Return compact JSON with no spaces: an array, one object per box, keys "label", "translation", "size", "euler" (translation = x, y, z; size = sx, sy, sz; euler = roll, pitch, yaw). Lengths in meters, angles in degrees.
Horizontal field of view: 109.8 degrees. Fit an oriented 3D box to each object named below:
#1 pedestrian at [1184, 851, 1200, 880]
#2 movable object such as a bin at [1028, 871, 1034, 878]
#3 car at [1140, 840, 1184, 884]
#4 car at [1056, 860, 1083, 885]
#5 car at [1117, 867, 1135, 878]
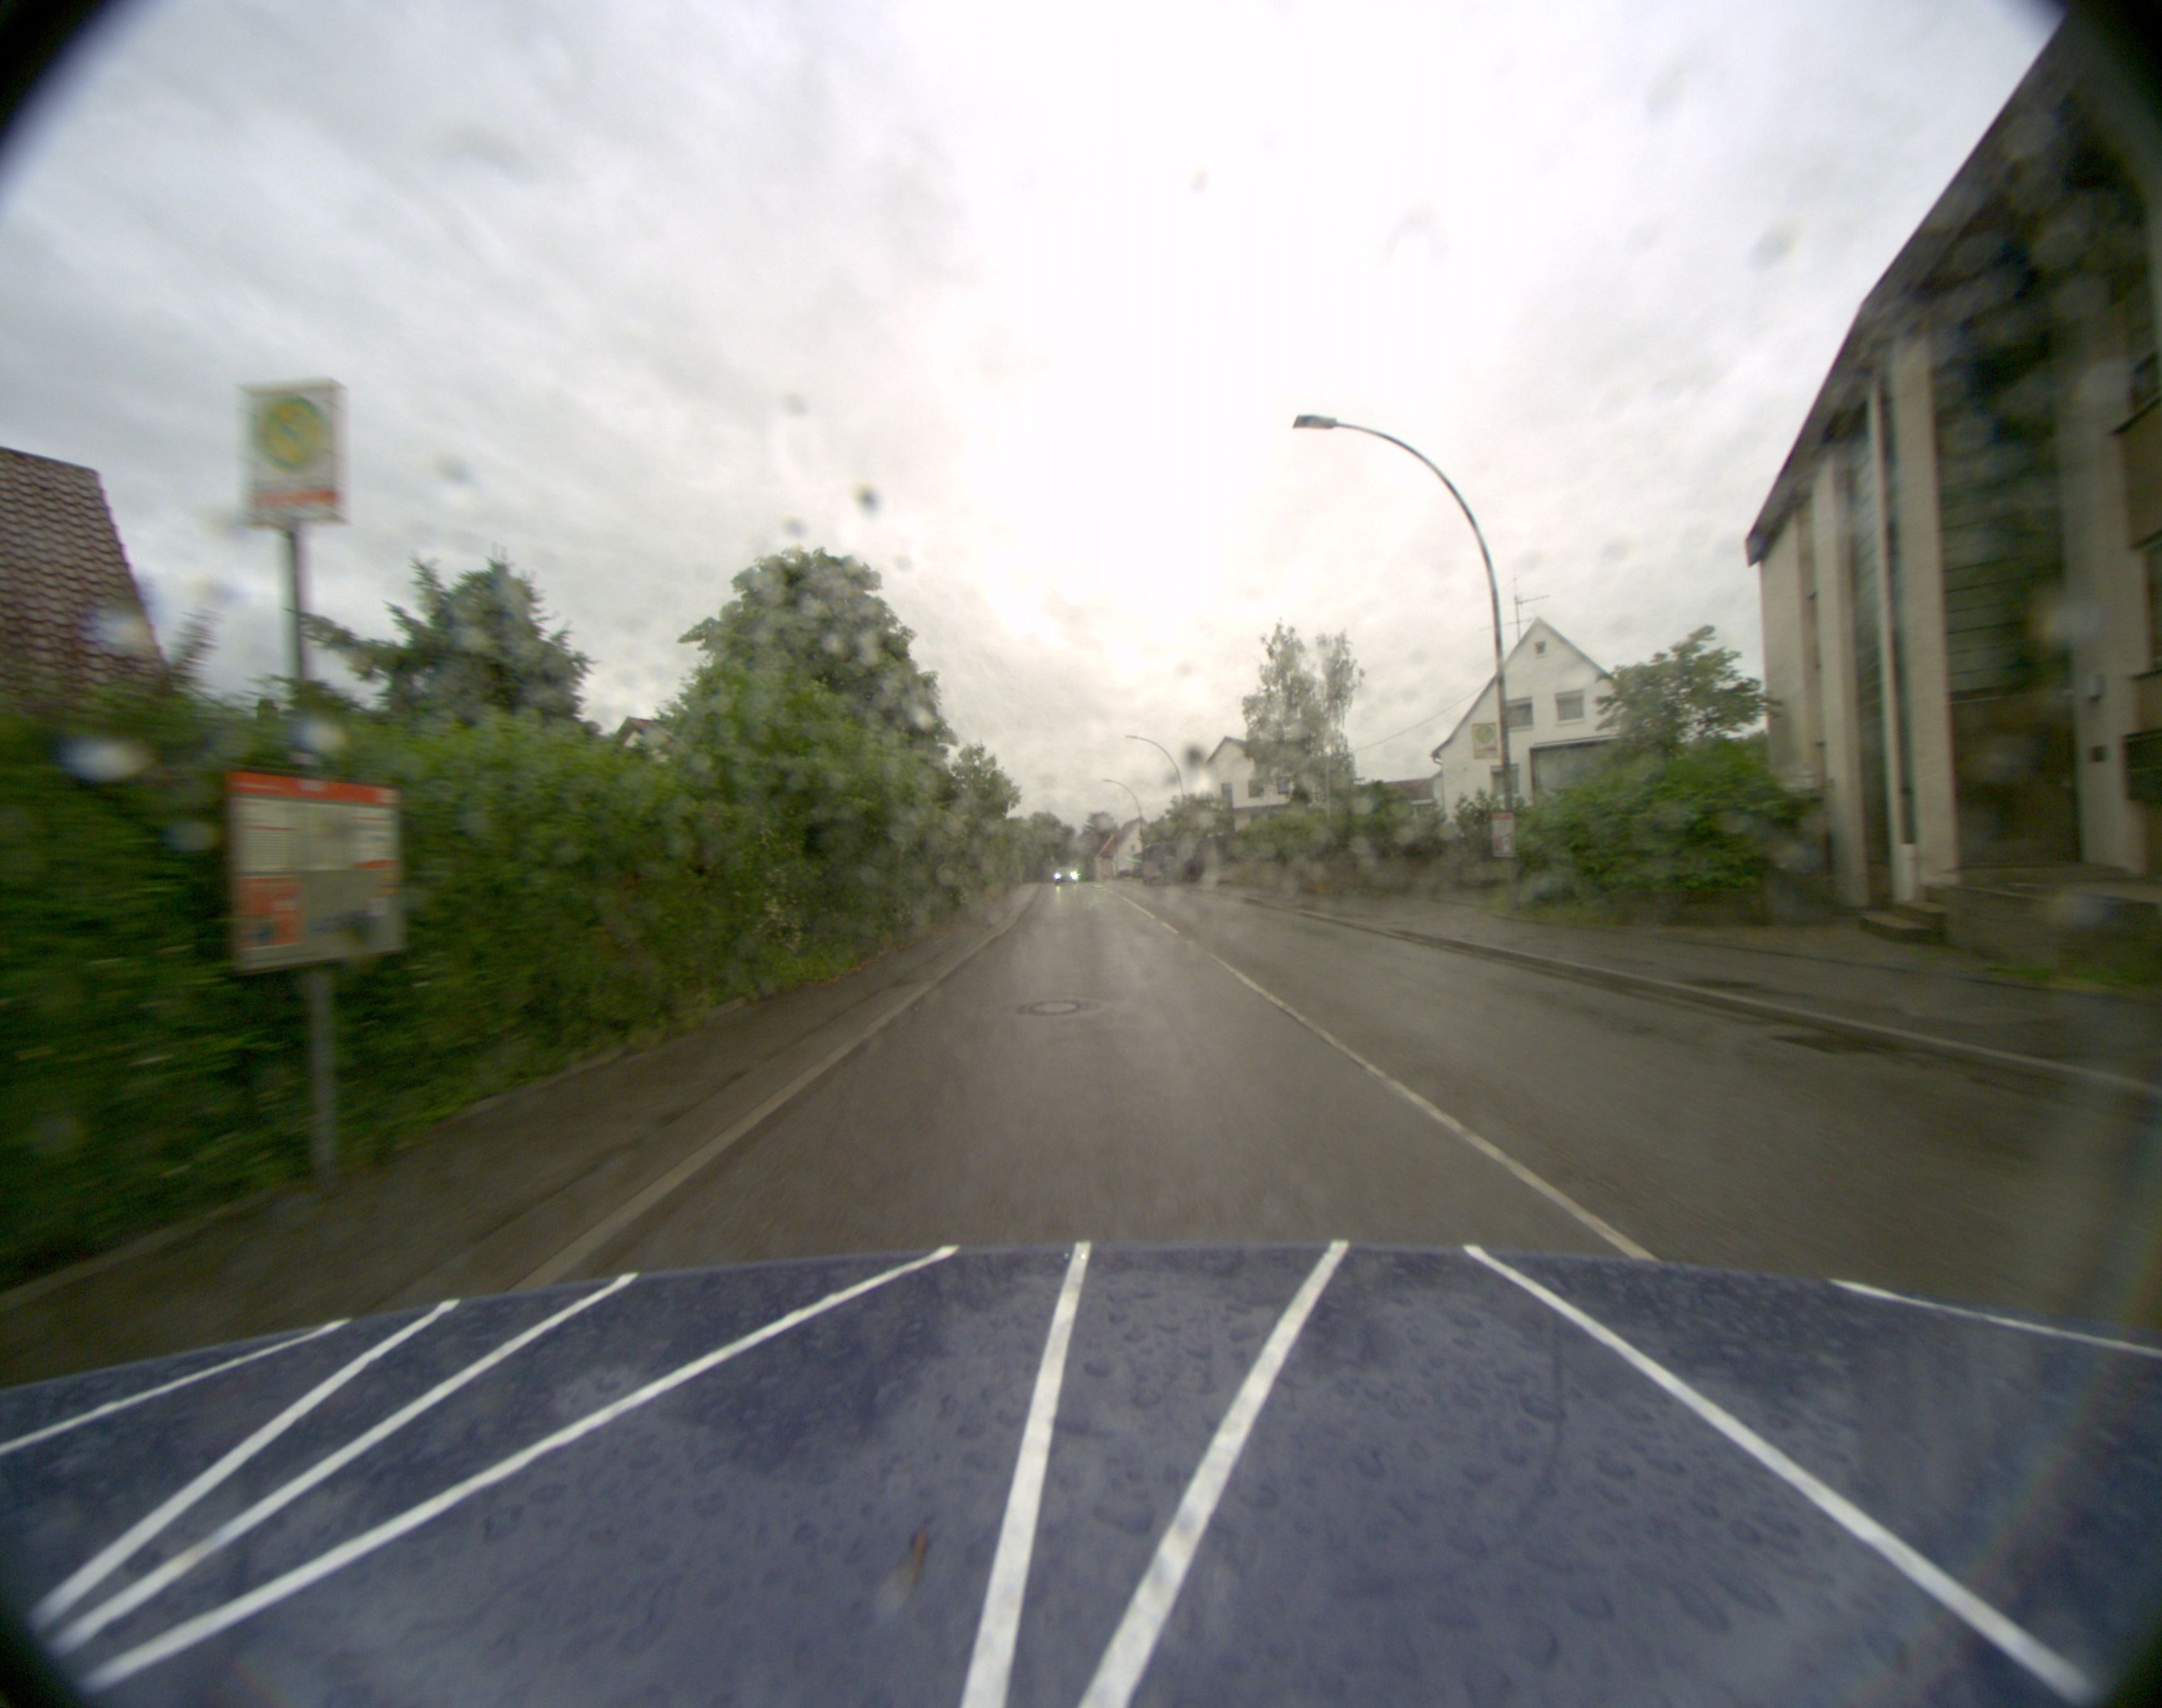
[{"label":"pedestrian","translation":[7.240,0.734,49.447],"size":[0.679,1.874,0.811],"euler":[-3,0,30]},{"label":"movable object such as a bin","translation":[-7.187,2.892,108.782],"size":[0.530,1.015,0.734],"euler":[-2,-2,16]},{"label":"car","translation":[5.411,0.535,51.377],"size":[2.100,2.633,5.919],"euler":[-5,-1,0]},{"label":"car","translation":[-1.032,1.596,65.212],"size":[1.999,2.001,4.000],"euler":[-3,-2,-3]},{"label":"car","translation":[6.926,2.882,116.696],"size":[1.904,1.433,3.834],"euler":[-5,-3,15]}]
